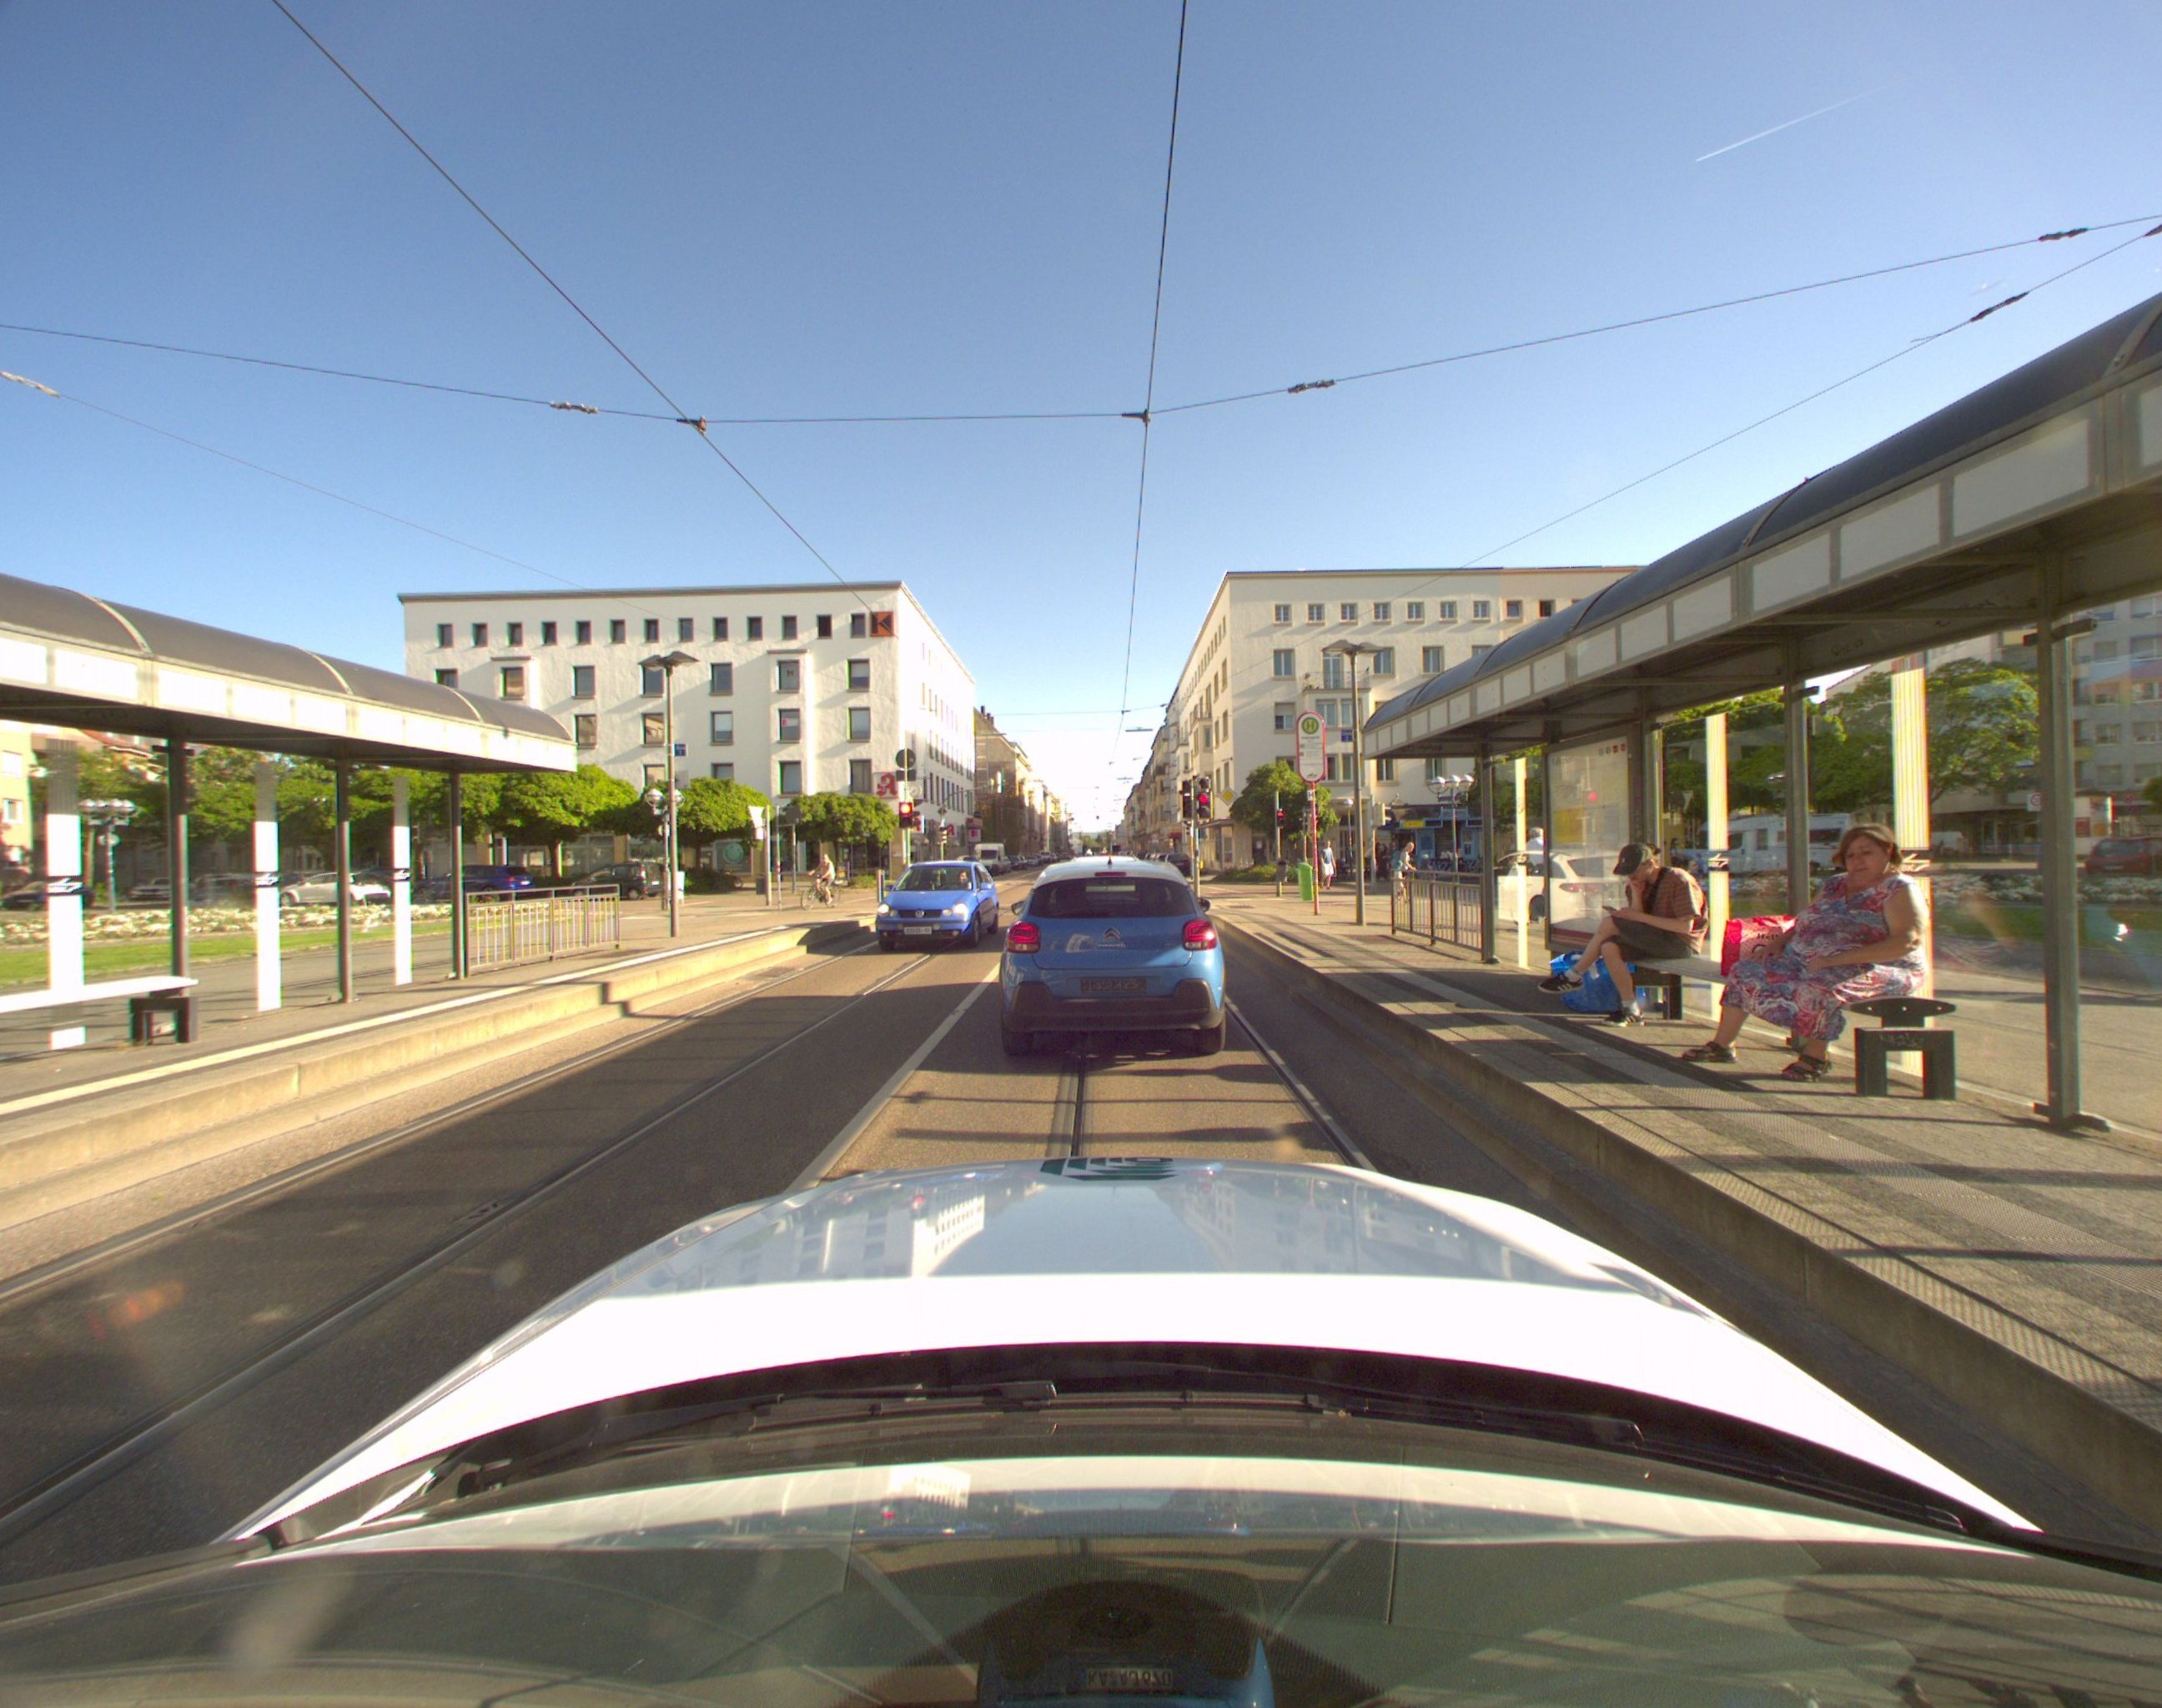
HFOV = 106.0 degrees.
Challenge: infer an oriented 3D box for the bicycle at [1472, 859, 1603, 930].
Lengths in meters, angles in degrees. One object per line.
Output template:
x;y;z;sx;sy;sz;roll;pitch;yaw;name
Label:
7.557;0.628;13.642;0.717;1.061;2.318;0;0;-6;bicycle

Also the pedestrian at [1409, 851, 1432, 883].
15.520;0.595;37.241;0.727;1.409;0.755;-1;3;2;pedestrian

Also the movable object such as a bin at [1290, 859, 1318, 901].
4.366;0.502;15.969;0.447;0.786;0.489;-1;0;4;movable object such as a bin

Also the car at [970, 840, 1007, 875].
-7.108;0.248;63.393;2.078;2.542;6.206;0;0;1;car

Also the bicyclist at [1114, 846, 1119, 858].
6.003;-0.310;138.035;0.806;2.014;0.923;0;-1;1;bicyclist

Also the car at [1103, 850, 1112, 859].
5.799;0.104;178.579;1.986;1.772;4.002;-1;0;2;car

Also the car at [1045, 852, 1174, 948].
0.513;0.711;14.982;1.977;1.464;4.817;0;0;2;car

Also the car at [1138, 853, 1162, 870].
6.180;0.633;73.785;1.986;1.464;4.002;-1;0;2;car

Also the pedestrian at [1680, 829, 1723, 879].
20.285;-0.005;26.633;0.897;1.585;0.663;-1;0;5;pedestrian

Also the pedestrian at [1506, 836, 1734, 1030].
3.731;0.511;5.738;0.995;1.225;0.923;2;-1;1;pedestrian

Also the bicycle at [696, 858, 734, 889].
-19.815;1.029;44.153;0.614;1.607;2.625;-1;0;6;bicycle

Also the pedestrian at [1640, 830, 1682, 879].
19.134;0.003;26.899;0.897;1.585;0.663;-1;0;5;pedestrian

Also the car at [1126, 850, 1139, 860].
8.385;0.150;133.559;1.986;1.464;4.002;-1;0;2;car

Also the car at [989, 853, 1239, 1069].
0.285;0.739;7.548;1.721;1.482;3.828;0;0;2;car

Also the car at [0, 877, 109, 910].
-52.302;1.977;41.550;1.925;1.494;4.314;0;0;-27;car

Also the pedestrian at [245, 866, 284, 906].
-37.996;1.482;37.894;0.938;1.817;0.872;-1;0;13;pedestrian

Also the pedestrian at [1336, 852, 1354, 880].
12.755;0.566;39.328;0.733;1.316;0.631;-1;0;25;pedestrian

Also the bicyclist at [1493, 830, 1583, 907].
7.577;0.229;13.552;0.950;1.225;0.931;0;0;-7;bicyclist

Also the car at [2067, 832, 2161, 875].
38.662;-0.047;29.456;3.983;1.486;1.995;-1;0;-7;car

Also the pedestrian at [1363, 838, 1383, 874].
15.284;0.116;42.632;0.781;1.839;0.679;-1;0;5;pedestrian

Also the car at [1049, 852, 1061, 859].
-4.825;0.282;152.103;1.986;1.156;4.002;-1;0;2;car

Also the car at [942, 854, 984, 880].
-7.638;0.808;53.161;1.987;1.569;4.403;2;0;1;car

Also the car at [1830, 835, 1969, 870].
36.623;-0.057;36.551;3.959;1.511;2.007;0;-1;13;car

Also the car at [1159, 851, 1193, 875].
6.130;0.539;52.797;1.902;1.464;4.002;-1;0;2;car

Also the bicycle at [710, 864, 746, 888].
-19.092;1.167;44.111;0.615;1.190;2.624;-1;0;5;bicycle

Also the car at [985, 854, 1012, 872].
-7.092;0.730;70.147;1.881;1.496;3.562;0;0;1;car

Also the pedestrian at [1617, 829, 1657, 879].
19.392;0.007;28.419;0.897;1.685;0.696;-1;0;5;pedestrian

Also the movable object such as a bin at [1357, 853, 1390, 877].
14.510;0.523;40.449;1.194;1.153;1.218;-1;0;2;movable object such as a bin

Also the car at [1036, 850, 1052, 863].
-5.836;0.446;127.789;1.997;2.014;4.694;0;-1;4;car

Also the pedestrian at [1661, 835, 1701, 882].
20.730;0.143;28.152;0.897;1.585;0.663;-1;0;5;pedestrian

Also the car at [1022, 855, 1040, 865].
-6.390;0.757;104.020;1.987;1.325;3.923;0;0;1;car

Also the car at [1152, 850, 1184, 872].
6.077;0.477;57.317;1.986;1.464;4.002;-1;0;2;car

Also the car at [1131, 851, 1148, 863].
7.379;0.397;102.539;1.986;1.464;4.507;-1;0;2;car

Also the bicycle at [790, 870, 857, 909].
-7.973;1.085;25.307;0.721;1.113;1.989;-1;0;32;bicycle

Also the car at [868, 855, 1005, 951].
-2.452;0.764;14.746;1.661;1.487;4.001;0;0;1;car

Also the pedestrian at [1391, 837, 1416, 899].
9.254;0.400;23.381;0.554;1.745;0.528;0;-1;12;pedestrian

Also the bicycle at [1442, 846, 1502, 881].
17.733;0.416;36.978;2.376;1.531;0.726;0;0;0;bicycle

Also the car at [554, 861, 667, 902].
-21.229;1.210;36.837;3.973;1.706;1.826;-1;0;1;car

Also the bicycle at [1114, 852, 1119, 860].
6.017;0.381;138.193;0.916;1.389;3.133;-1;0;2;bicycle

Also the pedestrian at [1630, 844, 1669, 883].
19.279;0.323;27.647;0.896;1.279;0.606;-1;0;8;pedestrian

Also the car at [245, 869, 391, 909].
-33.498;1.520;35.864;4.591;1.606;1.855;-1;0;-1;car

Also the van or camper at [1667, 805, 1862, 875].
30.135;-0.581;36.105;6.375;2.839;2.381;-1;0;5;van or camper

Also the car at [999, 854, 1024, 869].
-6.723;0.731;78.991;1.987;1.398;4.157;0;0;1;car

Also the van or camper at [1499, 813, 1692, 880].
22.872;-0.334;36.431;7.093;2.747;2.372;-1;1;2;van or camper

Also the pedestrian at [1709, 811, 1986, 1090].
3.988;0.470;4.293;0.855;1.334;0.623;2;-1;1;pedestrian

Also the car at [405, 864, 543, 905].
-27.170;1.326;36.579;4.591;1.662;1.999;-1;0;-1;car

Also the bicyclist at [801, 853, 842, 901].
-8.024;0.708;25.235;0.819;1.455;0.882;-1;-1;31;bicyclist

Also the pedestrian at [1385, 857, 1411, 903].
8.557;0.706;22.006;0.554;1.225;0.528;0;-1;12;pedestrian

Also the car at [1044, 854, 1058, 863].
-5.083;0.714;137.382;1.946;1.552;3.942;0;0;4;car

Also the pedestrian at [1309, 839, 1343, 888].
9.717;0.378;32.303;0.978;1.878;1.128;0;-1;-1;pedestrian

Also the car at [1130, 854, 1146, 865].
7.655;0.767;109.929;1.985;1.464;4.003;-1;0;3;car
